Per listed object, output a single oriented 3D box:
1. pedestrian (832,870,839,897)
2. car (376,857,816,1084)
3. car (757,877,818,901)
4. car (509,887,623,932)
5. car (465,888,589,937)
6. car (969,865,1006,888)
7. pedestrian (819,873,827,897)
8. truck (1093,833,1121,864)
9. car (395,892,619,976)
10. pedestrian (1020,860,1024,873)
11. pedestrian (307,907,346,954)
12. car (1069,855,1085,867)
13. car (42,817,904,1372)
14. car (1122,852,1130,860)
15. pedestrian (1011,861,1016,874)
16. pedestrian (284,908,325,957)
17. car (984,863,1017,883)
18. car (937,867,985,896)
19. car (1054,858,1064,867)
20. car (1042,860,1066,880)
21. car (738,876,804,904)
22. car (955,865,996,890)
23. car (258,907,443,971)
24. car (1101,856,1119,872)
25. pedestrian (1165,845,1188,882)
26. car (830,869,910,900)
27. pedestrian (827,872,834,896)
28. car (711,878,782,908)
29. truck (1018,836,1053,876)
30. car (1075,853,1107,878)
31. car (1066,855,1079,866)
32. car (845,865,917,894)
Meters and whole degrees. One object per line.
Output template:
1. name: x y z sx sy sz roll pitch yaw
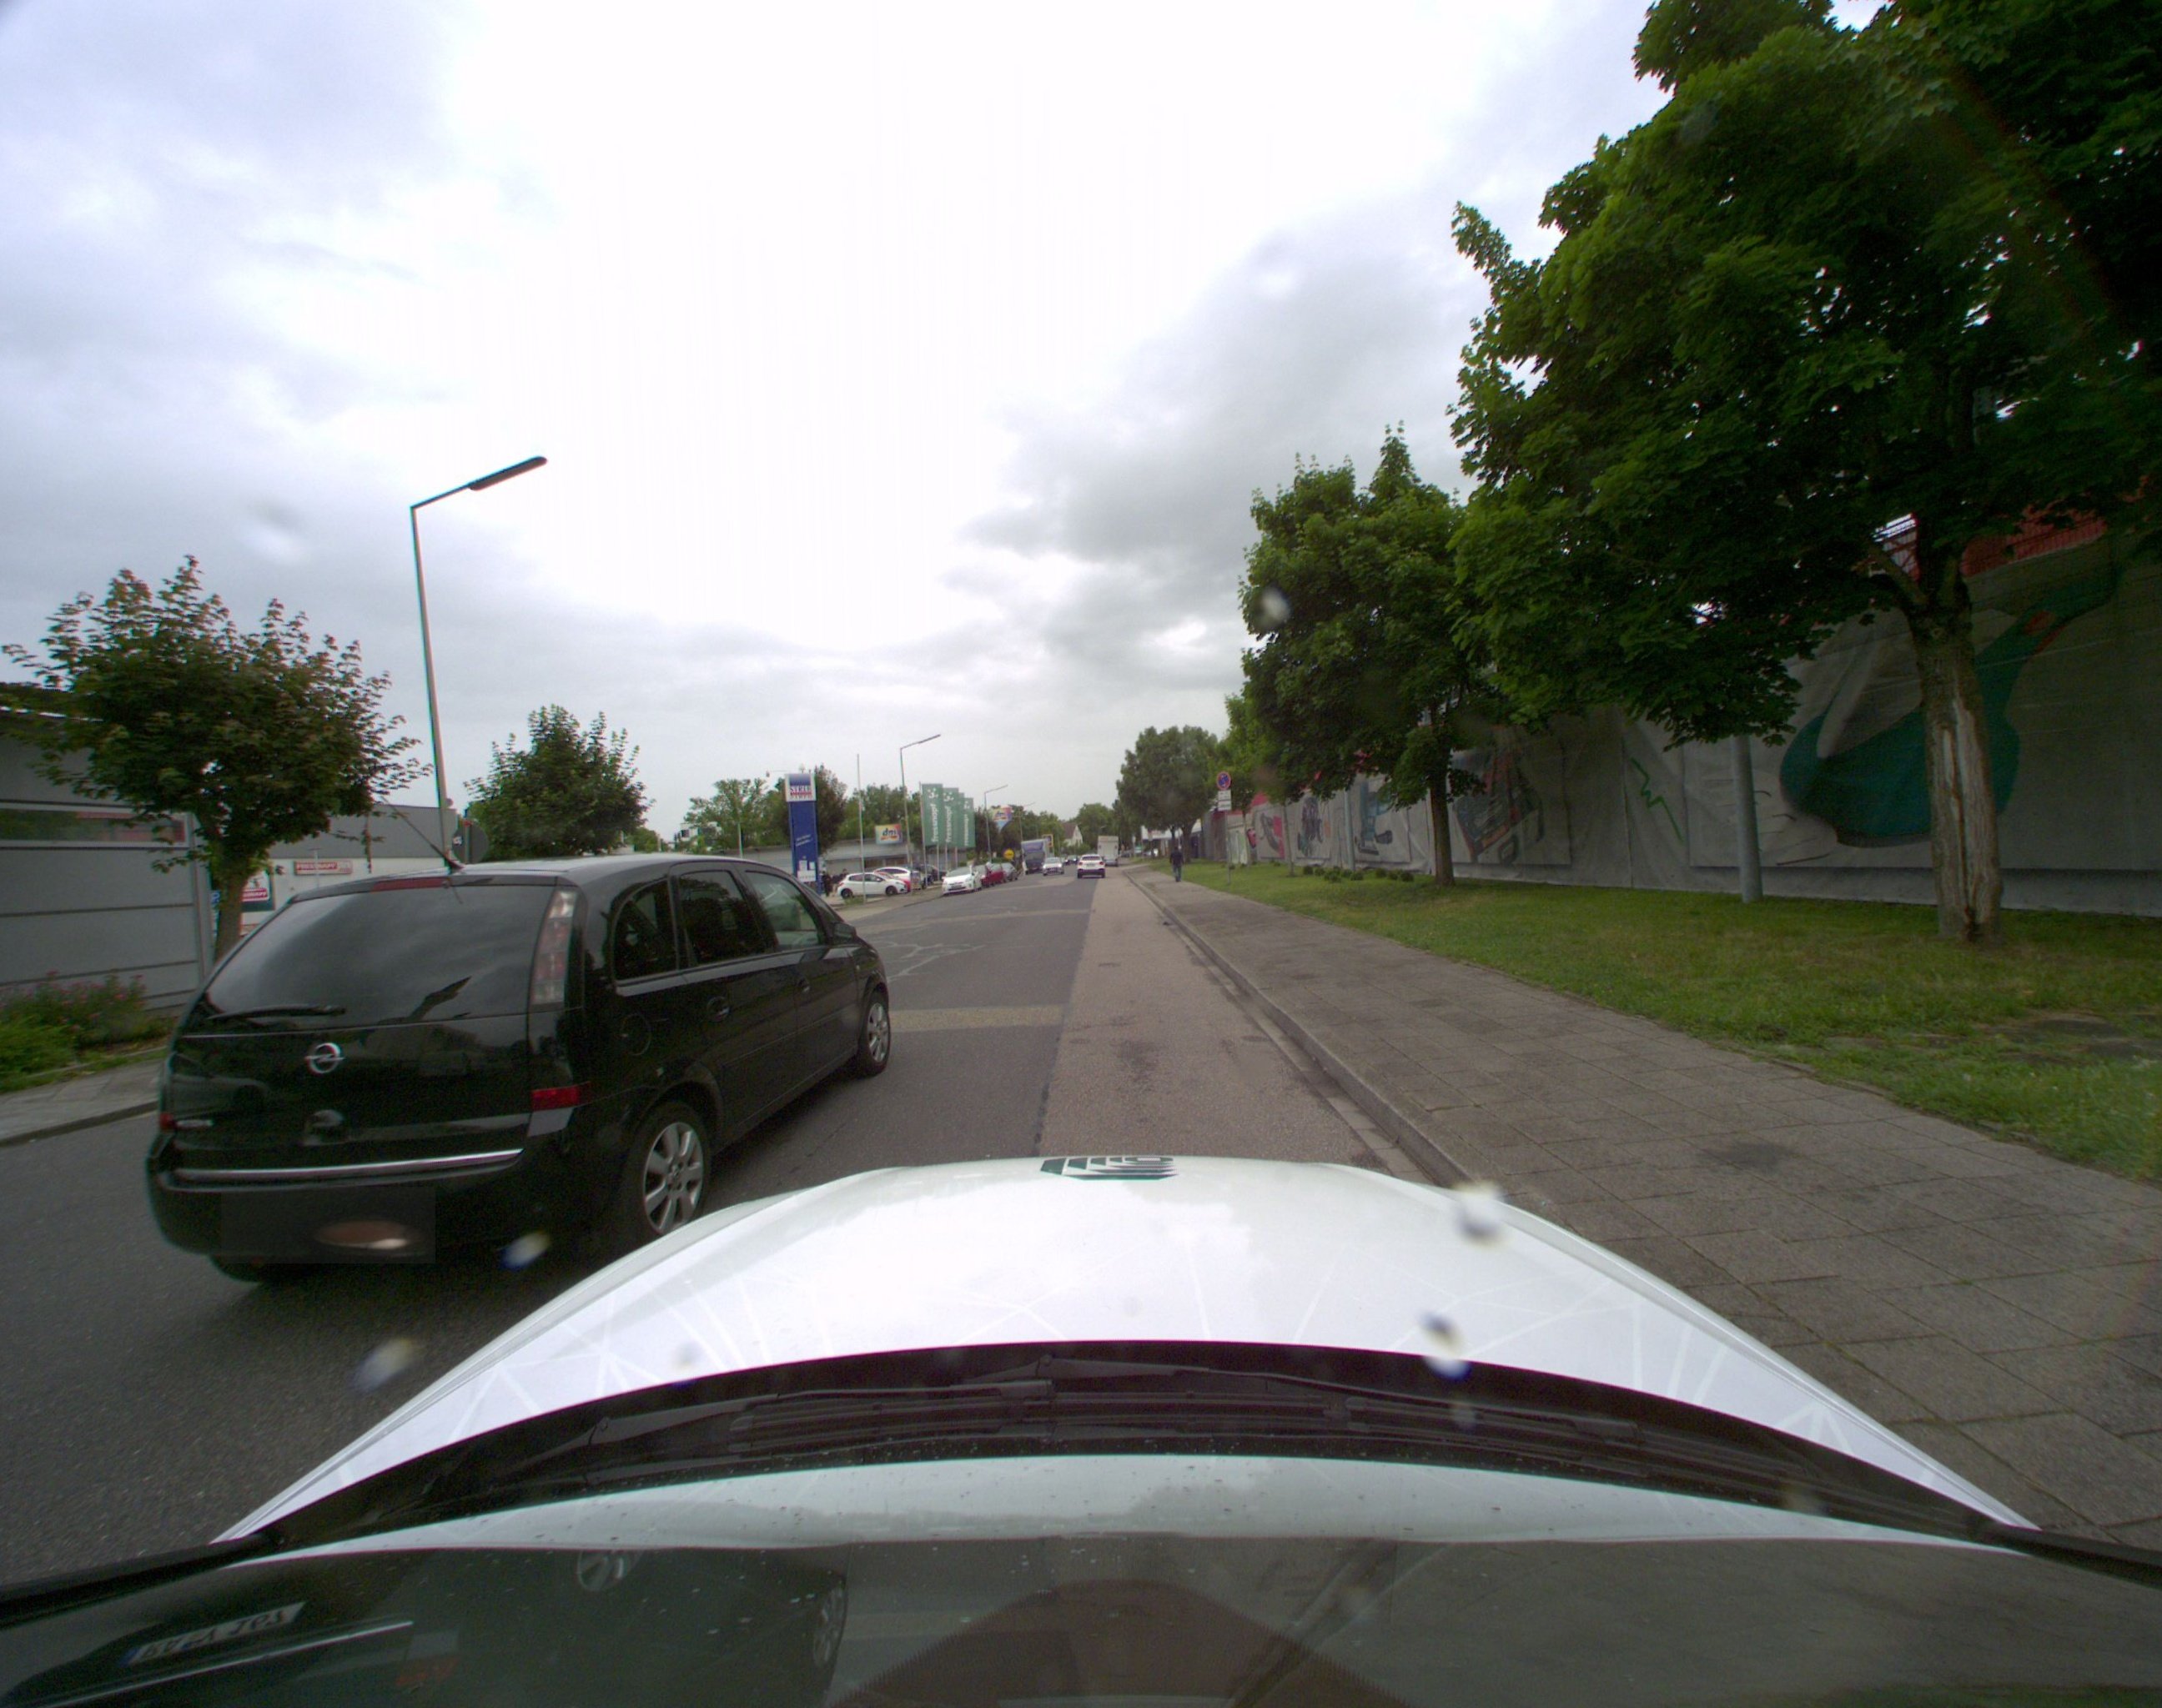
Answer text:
1. pedestrian: -16.296 1.958 54.074 0.263 1.729 0.421 -4 0 -11
2. car: -4.760 0.978 9.007 1.926 1.683 4.497 -6 0 2
3. car: -22.738 2.705 63.191 3.972 1.492 1.787 -4 0 2
4. car: -23.879 2.551 37.875 3.972 1.669 1.877 -5 0 1
5. car: -24.018 2.529 35.391 3.972 1.669 1.877 -5 0 1
6. car: -6.544 1.586 57.524 1.891 1.367 4.002 -4 0 2
7. pedestrian: -17.217 2.053 54.275 0.359 1.570 0.502 -4 0 -12
8. truck: 3.273 -0.608 105.217 3.124 3.585 10.050 -3 -1 0
9. car: -13.487 1.850 19.315 3.859 1.620 1.928 -3 0 1
10. pedestrian: -7.443 1.568 102.076 0.401 1.531 0.484 -5 0 -5
11. pedestrian: -29.089 2.942 31.406 0.797 1.715 0.696 -3 0 -3
12. car: -0.534 0.860 106.906 1.931 1.367 4.001 -5 0 1
13. car: -2.346 0.765 4.457 1.674 1.632 3.761 -5 0 2
14. car: 11.072 0.481 200.035 1.879 1.683 4.256 -2 0 2
15. pedestrian: -8.083 1.582 97.226 0.401 1.531 0.484 -5 0 -5
16. pedestrian: -28.874 2.918 30.291 0.797 1.715 0.696 -3 0 -3
17. car: -6.247 1.452 63.539 1.891 1.367 4.002 -4 0 2
18. car: -6.681 1.502 45.627 1.891 1.367 4.002 -4 0 2
19. car: -3.737 1.449 139.665 1.618 1.375 3.453 -3 -1 1
20. car: -2.302 1.396 70.201 1.593 1.528 3.530 -6 -1 2
21. car: -22.464 2.605 59.115 3.972 1.669 1.877 -5 0 1
22. car: -6.684 1.463 52.011 1.891 1.367 4.002 -4 0 2
23. car: -23.918 2.736 26.856 3.998 1.485 1.865 -5 0 -18
24. car: 3.380 1.200 96.159 1.987 1.806 4.000 -3 -1 0
25. pedestrian: 4.400 0.445 37.497 0.915 1.635 0.853 -3 -1 3
26. car: -12.332 1.774 47.846 4.198 1.463 1.949 -4 0 -6
27. pedestrian: -16.761 2.028 54.441 0.330 1.570 0.502 -3 0 -12
28. car: -23.272 2.679 56.737 3.972 1.669 1.877 -5 0 1
29. truck: -5.019 0.206 91.048 2.962 3.955 6.408 -6 0 2
30. car: 0.682 0.741 53.572 1.879 1.531 4.256 -2 0 2
31. car: -1.436 1.038 134.152 1.987 1.684 4.000 -3 -1 0
32. car: -12.891 1.633 52.743 4.128 1.463 1.896 -5 0 -4
